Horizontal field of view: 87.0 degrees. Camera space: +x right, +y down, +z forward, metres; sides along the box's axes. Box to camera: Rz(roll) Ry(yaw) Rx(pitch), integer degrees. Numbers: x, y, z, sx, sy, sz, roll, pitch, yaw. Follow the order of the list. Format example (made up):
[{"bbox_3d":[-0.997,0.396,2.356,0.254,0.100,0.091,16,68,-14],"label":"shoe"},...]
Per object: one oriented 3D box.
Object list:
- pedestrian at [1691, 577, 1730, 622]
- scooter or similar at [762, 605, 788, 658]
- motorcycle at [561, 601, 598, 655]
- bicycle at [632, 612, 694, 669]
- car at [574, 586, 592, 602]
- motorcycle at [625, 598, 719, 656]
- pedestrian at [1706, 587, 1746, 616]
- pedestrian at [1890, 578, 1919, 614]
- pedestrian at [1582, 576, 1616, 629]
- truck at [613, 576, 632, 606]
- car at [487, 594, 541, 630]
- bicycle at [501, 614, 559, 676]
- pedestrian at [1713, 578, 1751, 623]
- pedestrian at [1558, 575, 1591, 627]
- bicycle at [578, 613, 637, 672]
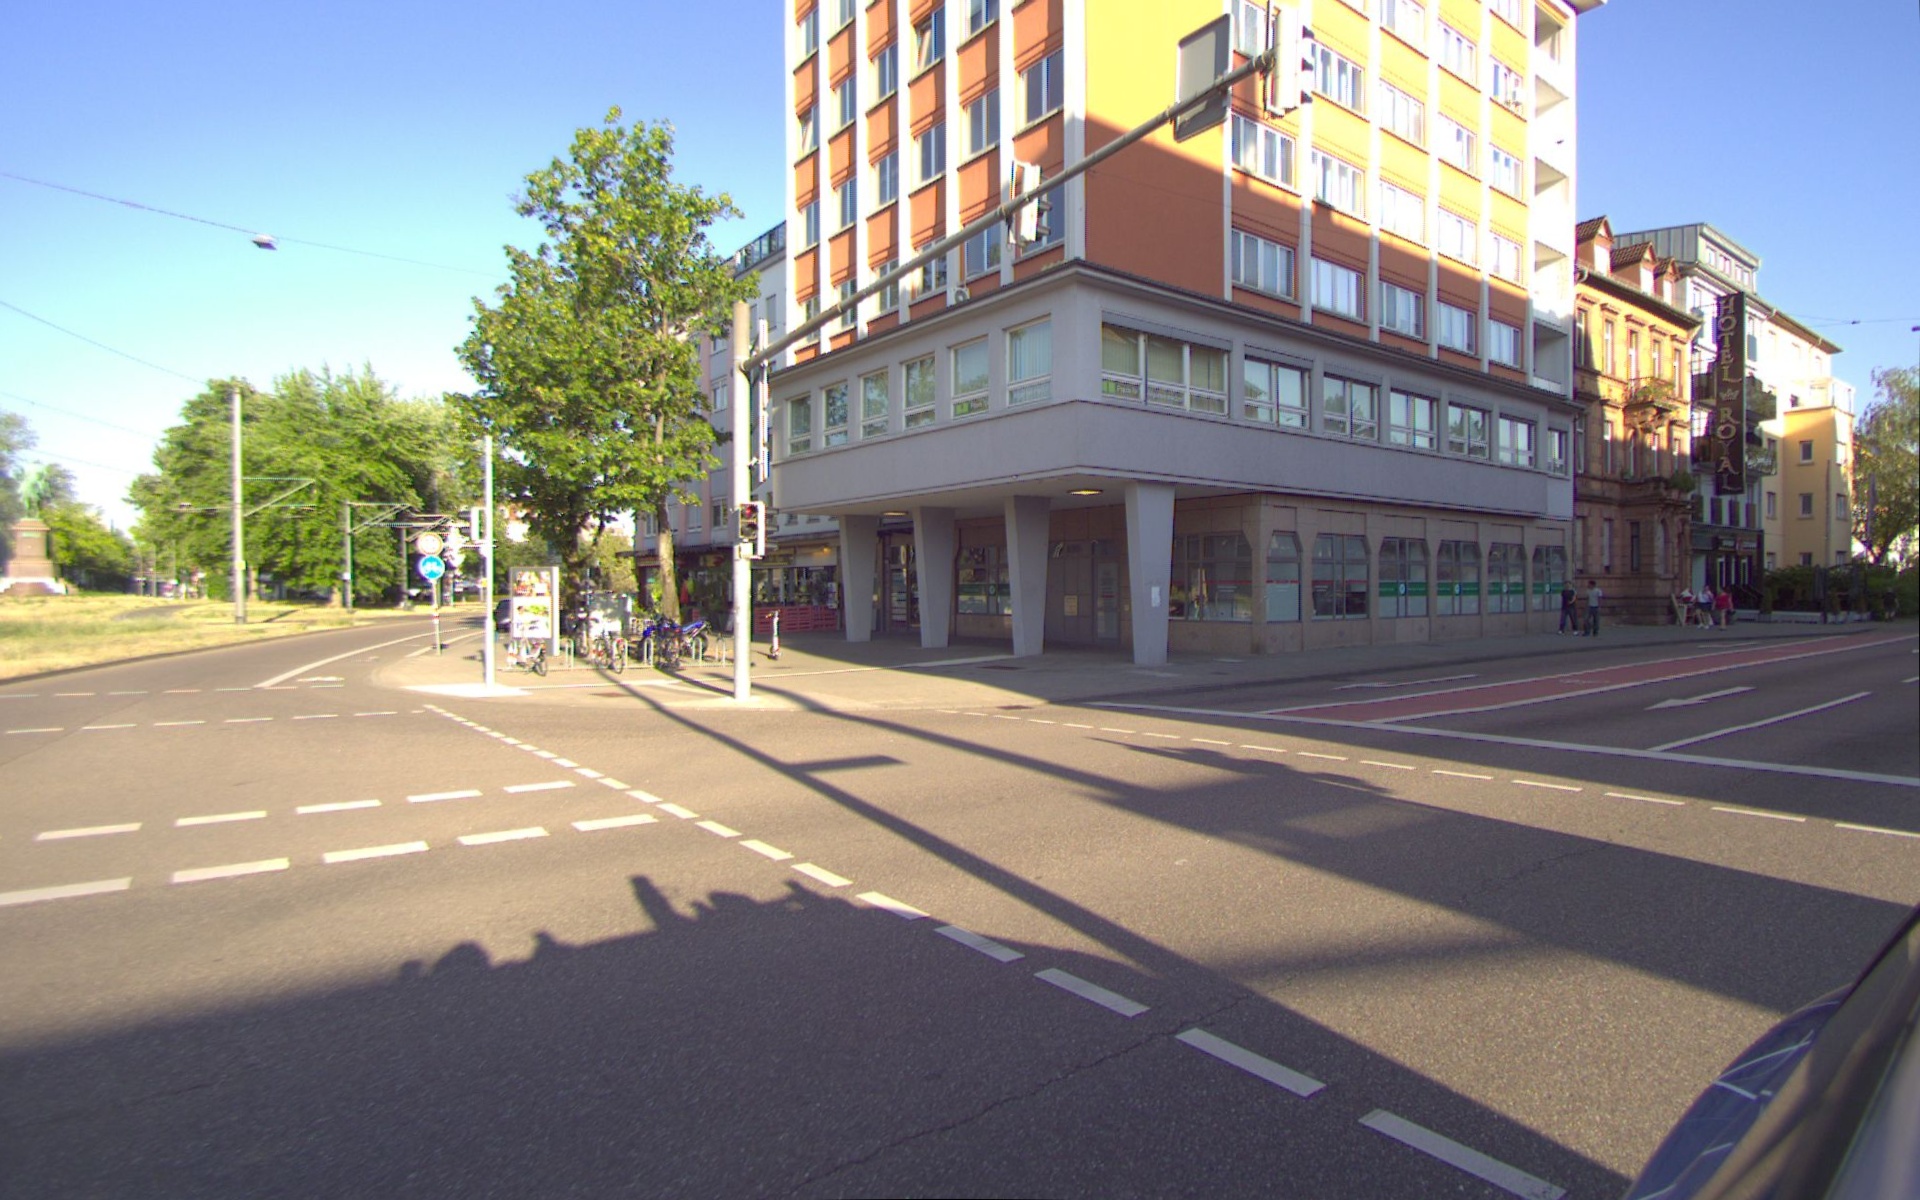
[{"bbox_3d":[28.435,-0.029,38.358,0.991,1.607,0.788,-1,4,-33],"label":"pedestrian"},{"bbox_3d":[-4.805,0.796,26.263,0.474,1.250,1.565,0,2,-18],"label":"scooter or similar"},{"bbox_3d":[-10.160,0.719,26.970,0.872,1.324,2.061,-1,1,-22],"label":"motorcycle"},{"bbox_3d":[-6.717,0.889,22.808,0.583,1.128,2.060,0,2,-39],"label":"bicycle"},{"bbox_3d":[-43.862,-0.730,117.766,1.615,1.836,3.496,-1,1,-16],"label":"car"},{"bbox_3d":[-7.452,0.688,26.295,0.840,1.410,2.233,-2,0,41],"label":"motorcycle"},{"bbox_3d":[30.987,0.049,40.946,0.908,1.150,1.100,-1,1,-39],"label":"pedestrian"},{"bbox_3d":[43.485,-0.197,46.610,0.992,1.621,0.739,-1,3,-36],"label":"pedestrian"},{"bbox_3d":[21.455,0.064,33.978,0.992,1.747,0.668,-1,1,-36],"label":"pedestrian"},{"bbox_3d":[-37.374,-1.036,112.165,1.704,3.260,6.421,-1,1,-16],"label":"truck"},{"bbox_3d":[-18.951,0.482,43.138,1.607,1.445,3.644,-1,1,-16],"label":"car"},{"bbox_3d":[-8.952,0.902,21.014,0.583,1.129,1.976,0,2,-39],"label":"bicycle"},{"bbox_3d":[28.731,0.016,37.674,0.991,1.607,0.739,-1,4,-33],"label":"pedestrian"},{"bbox_3d":[20.964,0.015,34.522,0.992,1.747,0.668,-1,1,-36],"label":"pedestrian"},{"bbox_3d":[-7.681,0.895,22.024,0.583,1.128,2.006,0,2,-38],"label":"bicycle"}]
